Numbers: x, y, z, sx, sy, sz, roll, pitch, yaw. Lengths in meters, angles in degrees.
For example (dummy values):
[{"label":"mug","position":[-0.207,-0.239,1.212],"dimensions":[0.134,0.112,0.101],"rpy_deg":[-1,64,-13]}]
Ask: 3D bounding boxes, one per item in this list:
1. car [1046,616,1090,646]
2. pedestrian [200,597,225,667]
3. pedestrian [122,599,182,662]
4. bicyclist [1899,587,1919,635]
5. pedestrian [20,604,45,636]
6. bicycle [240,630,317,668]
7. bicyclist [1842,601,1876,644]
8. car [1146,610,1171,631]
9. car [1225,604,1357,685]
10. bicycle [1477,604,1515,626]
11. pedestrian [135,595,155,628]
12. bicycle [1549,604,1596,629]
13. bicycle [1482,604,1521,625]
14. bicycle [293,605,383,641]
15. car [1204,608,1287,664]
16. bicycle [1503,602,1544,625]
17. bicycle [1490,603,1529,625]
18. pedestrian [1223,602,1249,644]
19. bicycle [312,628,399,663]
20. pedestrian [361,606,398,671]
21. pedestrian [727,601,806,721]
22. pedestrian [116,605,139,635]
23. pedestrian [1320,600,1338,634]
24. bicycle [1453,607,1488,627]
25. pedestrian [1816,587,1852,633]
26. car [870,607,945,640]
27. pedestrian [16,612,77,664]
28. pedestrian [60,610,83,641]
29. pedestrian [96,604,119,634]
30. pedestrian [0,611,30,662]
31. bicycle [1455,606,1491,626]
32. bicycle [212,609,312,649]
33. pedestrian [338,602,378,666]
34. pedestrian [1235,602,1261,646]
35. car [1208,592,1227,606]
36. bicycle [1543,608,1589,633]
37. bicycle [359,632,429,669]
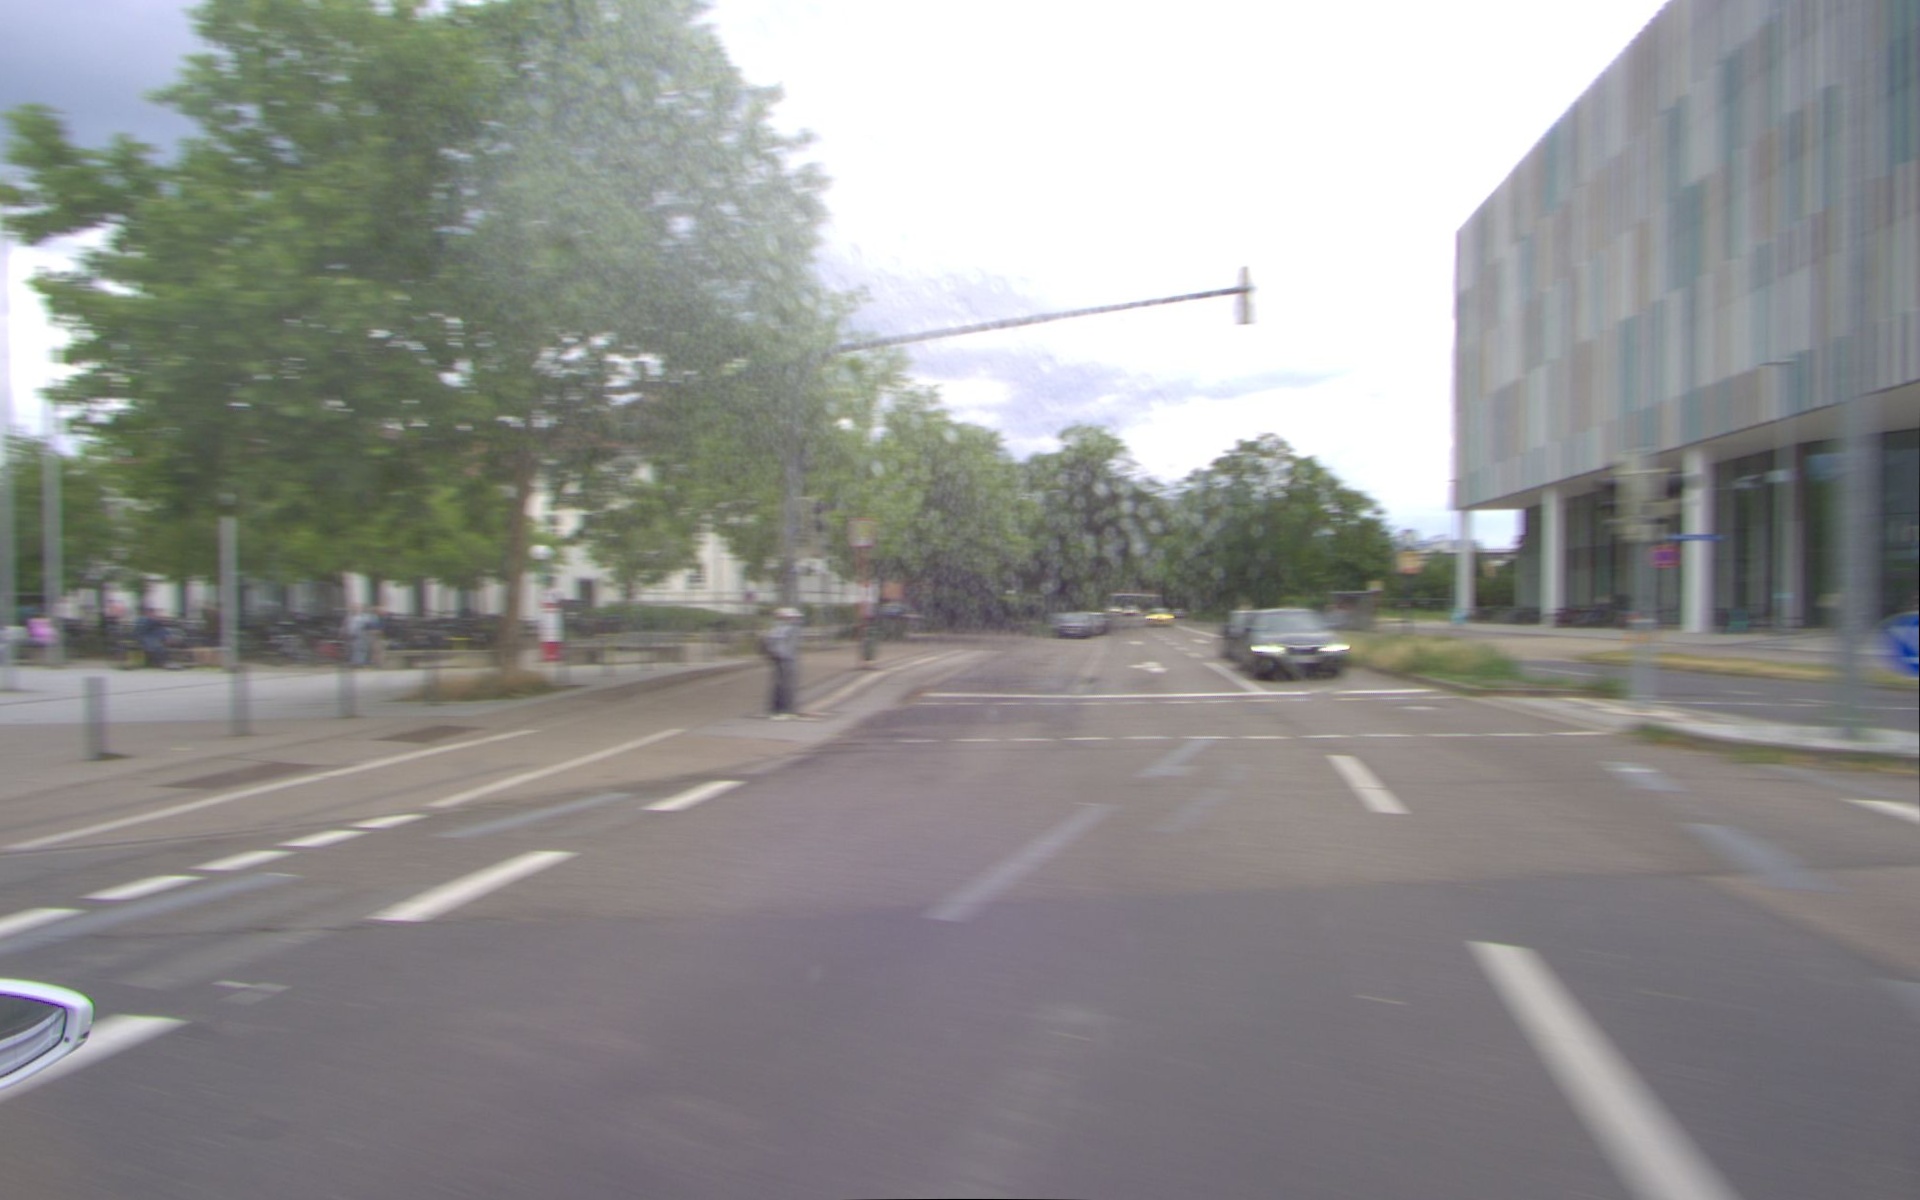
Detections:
[{"label":"car","position":[5.821,1.628,53.572],"dimensions":[1.962,1.532,3.998],"rpy_deg":[0,0,11]},{"label":"pedestrian","position":[-20.224,0.853,27.089],"dimensions":[0.506,1.857,0.667],"rpy_deg":[0,0,-41]},{"label":"pedestrian","position":[-22.262,0.831,27.590],"dimensions":[0.950,1.727,0.852],"rpy_deg":[0,0,5]},{"label":"bicyclist","position":[29.839,0.346,31.282],"dimensions":[0.596,1.488,0.482],"rpy_deg":[0,0,26]},{"label":"pedestrian","position":[-48.812,1.069,52.701],"dimensions":[0.653,1.662,0.662],"rpy_deg":[0,0,7]},{"label":"bicycle","position":[-19.966,1.430,29.353],"dimensions":[1.898,1.063,0.457],"rpy_deg":[1,0,-5]},{"label":"bicyclist","position":[29.955,0.750,33.365],"dimensions":[0.608,1.401,0.717],"rpy_deg":[0,0,18]},{"label":"car","position":[16.330,1.692,82.405],"dimensions":[1.962,1.639,4.192],"rpy_deg":[0,-1,11]},{"label":"car","position":[7.131,0.902,22.003],"dimensions":[1.962,1.509,4.290],"rpy_deg":[-2,0,8]},{"label":"bicycle","position":[34.781,0.976,65.008],"dimensions":[2.063,1.275,0.629],"rpy_deg":[3,-1,7]},{"label":"pedestrian","position":[-41.539,0.600,51.058],"dimensions":[0.653,1.663,0.663],"rpy_deg":[-1,0,-30]},{"label":"bicycle","position":[33.354,0.909,54.509],"dimensions":[2.063,1.275,0.629],"rpy_deg":[3,-1,7]},{"label":"bicycle","position":[34.693,0.942,64.118],"dimensions":[2.063,1.275,0.629],"rpy_deg":[3,-1,7]},{"label":"bicycle","position":[-22.737,0.849,36.612],"dimensions":[3.048,1.185,0.748],"rpy_deg":[2,-1,10]},{"label":"car","position":[8.110,0.987,28.744],"dimensions":[1.962,1.472,3.998],"rpy_deg":[0,-1,11]},{"label":"bicycle","position":[34.521,0.841,61.369],"dimensions":[2.063,1.275,0.629],"rpy_deg":[3,-1,7]},{"label":"bicycle","position":[34.686,0.911,63.211],"dimensions":[2.063,1.275,0.629],"rpy_deg":[3,-1,7]},{"label":"pedestrian","position":[11.845,0.987,42.994],"dimensions":[0.702,1.811,0.893],"rpy_deg":[0,0,-16]},{"label":"bicycle","position":[-22.792,1.710,37.761],"dimensions":[3.048,1.185,0.748],"rpy_deg":[2,-1,10]},{"label":"pedestrian","position":[-15.935,1.051,27.484],"dimensions":[0.645,1.738,0.585],"rpy_deg":[0,0,14]},{"label":"pedestrian","position":[-2.810,0.865,14.574],"dimensions":[0.779,1.648,0.756],"rpy_deg":[3,1,22]},{"label":"pedestrian","position":[-45.399,1.091,54.604],"dimensions":[0.653,1.662,0.662],"rpy_deg":[0,0,6]},{"label":"pedestrian","position":[20.020,0.920,54.329],"dimensions":[0.794,1.834,0.588],"rpy_deg":[0,0,13]},{"label":"bicycle","position":[35.464,1.190,69.576],"dimensions":[2.063,1.275,0.629],"rpy_deg":[3,-1,7]},{"label":"pedestrian","position":[34.554,0.389,39.592],"dimensions":[0.787,1.812,0.762],"rpy_deg":[0,0,10]},{"label":"car","position":[-2.963,1.288,55.741],"dimensions":[3.988,1.776,1.999],"rpy_deg":[0,-1,-8]},{"label":"pedestrian","position":[-25.904,1.076,28.418],"dimensions":[0.950,1.439,0.852],"rpy_deg":[0,0,-3]},{"label":"pedestrian","position":[-47.223,1.364,53.217],"dimensions":[0.653,1.662,0.662],"rpy_deg":[0,0,6]},{"label":"pedestrian","position":[-46.526,1.038,54.673],"dimensions":[0.681,1.662,0.662],"rpy_deg":[0,0,6]},{"label":"pedestrian","position":[-26.896,1.017,28.257],"dimensions":[0.757,1.431,0.671],"rpy_deg":[0,0,-23]},{"label":"bicycle","position":[35.250,1.088,68.817],"dimensions":[2.063,1.275,0.629],"rpy_deg":[3,-1,7]},{"label":"bicycle","position":[-23.190,0.954,33.254],"dimensions":[3.048,1.185,0.748],"rpy_deg":[2,-1,10]},{"label":"pedestrian","position":[-16.690,0.941,27.780],"dimensions":[0.666,1.738,0.672],"rpy_deg":[0,0,14]},{"label":"pedestrian","position":[12.083,1.021,42.062],"dimensions":[0.702,1.811,0.893],"rpy_deg":[0,0,-16]},{"label":"car","position":[33.331,-0.134,129.597],"dimensions":[1.782,1.639,4.000],"rpy_deg":[2,-1,6]},{"label":"bicycle","position":[33.416,1.120,55.201],"dimensions":[2.063,1.275,0.629],"rpy_deg":[3,-1,7]},{"label":"bicycle","position":[-16.862,1.490,29.839],"dimensions":[1.898,1.063,0.457],"rpy_deg":[1,0,4]}]
